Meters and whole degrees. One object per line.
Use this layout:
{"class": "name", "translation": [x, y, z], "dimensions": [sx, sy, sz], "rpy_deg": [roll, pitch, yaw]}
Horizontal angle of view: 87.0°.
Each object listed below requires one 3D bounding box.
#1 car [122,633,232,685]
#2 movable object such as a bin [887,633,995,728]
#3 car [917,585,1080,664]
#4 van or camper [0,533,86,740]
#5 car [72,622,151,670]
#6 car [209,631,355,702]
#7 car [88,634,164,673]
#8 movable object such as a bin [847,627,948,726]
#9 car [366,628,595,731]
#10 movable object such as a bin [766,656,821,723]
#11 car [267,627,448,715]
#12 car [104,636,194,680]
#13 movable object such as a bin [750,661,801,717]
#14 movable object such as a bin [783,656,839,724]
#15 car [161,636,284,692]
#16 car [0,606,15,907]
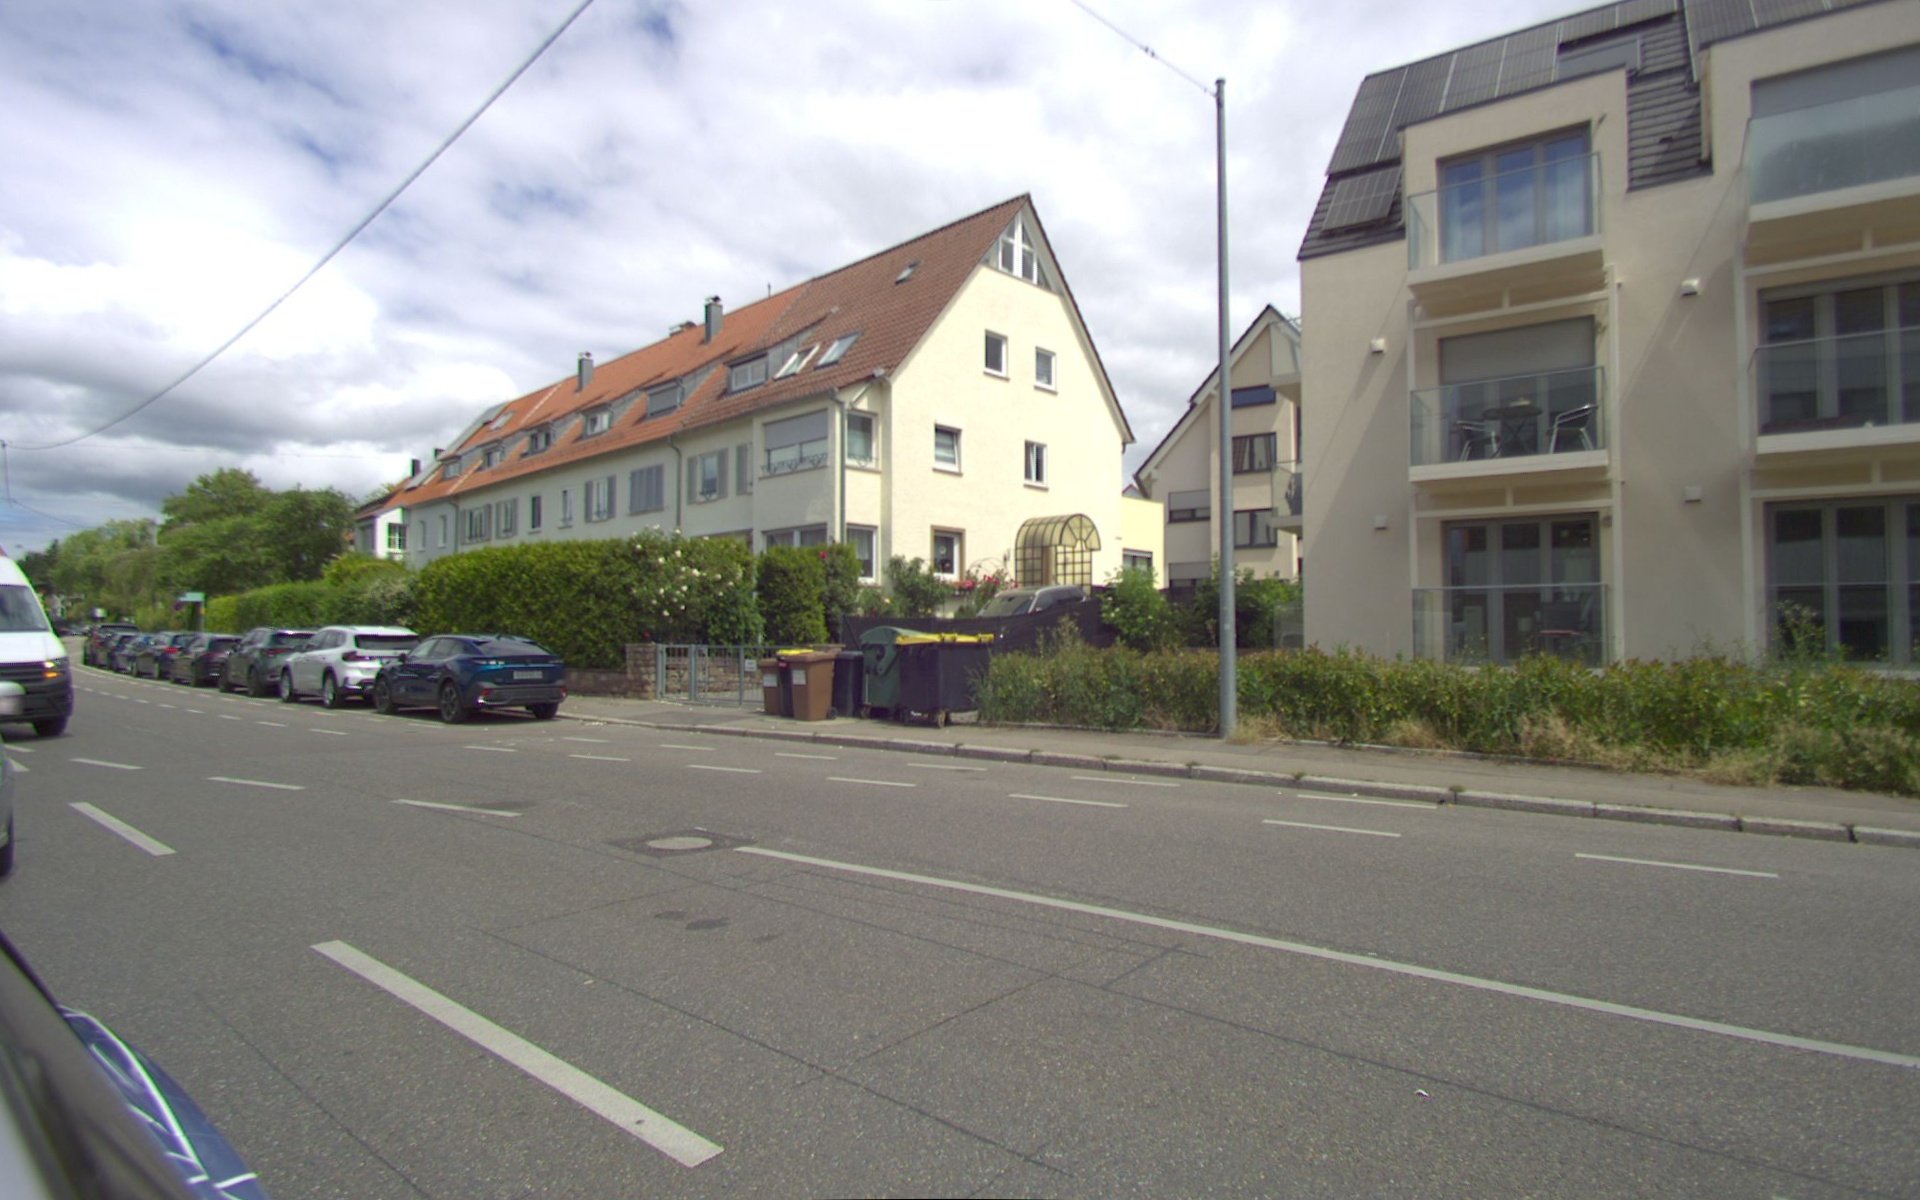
{"class": "car", "translation": [-24.811, 1.822, 32.019], "dimensions": [4.561, 1.503, 1.760], "rpy_deg": [-1, -3, 39]}
{"class": "movable object such as a bin", "translation": [-0.278, 1.143, 14.887], "dimensions": [1.214, 1.323, 1.053], "rpy_deg": [-2, -3, 43]}
{"class": "car", "translation": [0.988, 0.558, 23.943], "dimensions": [1.802, 1.719, 3.946], "rpy_deg": [-2, -1, 40]}
{"class": "van or camper", "translation": [-14.651, 0.573, 14.175], "dimensions": [5.902, 2.600, 2.009], "rpy_deg": [-3, -2, 32]}
{"class": "car", "translation": [-36.353, 1.957, 43.318], "dimensions": [5.405, 1.909, 1.971], "rpy_deg": [-2, -5, 44]}
{"class": "car", "translation": [-16.737, 1.548, 24.895], "dimensions": [4.690, 1.576, 1.971], "rpy_deg": [-2, -3, 43]}
{"class": "car", "translation": [-32.608, 2.066, 39.527], "dimensions": [4.340, 1.428, 1.758], "rpy_deg": [-2, -3, 44]}
{"class": "movable object such as a bin", "translation": [-0.985, 1.173, 15.976], "dimensions": [1.213, 1.493, 1.054], "rpy_deg": [-2, -3, 39]}
{"class": "car", "translation": [-8.616, 1.316, 18.015], "dimensions": [4.485, 1.599, 1.973], "rpy_deg": [-1, -3, 40]}
{"class": "movable object such as a bin", "translation": [-2.682, 1.427, 16.344], "dimensions": [0.658, 1.032, 0.589], "rpy_deg": [-2, -3, 41]}
{"class": "car", "translation": [-12.728, 1.407, 21.264], "dimensions": [4.515, 1.663, 1.972], "rpy_deg": [-1, -3, 41]}
{"class": "car", "translation": [-28.656, 1.992, 35.730], "dimensions": [4.439, 1.428, 1.759], "rpy_deg": [-1, -3, 42]}
{"class": "movable object such as a bin", "translation": [-3.076, 1.469, 16.888], "dimensions": [0.614, 0.886, 0.589], "rpy_deg": [-2, -3, 41]}
{"class": "movable object such as a bin", "translation": [-2.318, 1.383, 15.743], "dimensions": [0.658, 1.015, 0.589], "rpy_deg": [-2, -3, 41]}
{"class": "car", "translation": [-20.893, 1.743, 28.599], "dimensions": [4.690, 1.419, 1.971], "rpy_deg": [-2, -3, 43]}
{"class": "car", "translation": [-7.050, 0.858, 6.205], "dimensions": [4.332, 1.552, 1.684], "rpy_deg": [-2, -1, 45]}
